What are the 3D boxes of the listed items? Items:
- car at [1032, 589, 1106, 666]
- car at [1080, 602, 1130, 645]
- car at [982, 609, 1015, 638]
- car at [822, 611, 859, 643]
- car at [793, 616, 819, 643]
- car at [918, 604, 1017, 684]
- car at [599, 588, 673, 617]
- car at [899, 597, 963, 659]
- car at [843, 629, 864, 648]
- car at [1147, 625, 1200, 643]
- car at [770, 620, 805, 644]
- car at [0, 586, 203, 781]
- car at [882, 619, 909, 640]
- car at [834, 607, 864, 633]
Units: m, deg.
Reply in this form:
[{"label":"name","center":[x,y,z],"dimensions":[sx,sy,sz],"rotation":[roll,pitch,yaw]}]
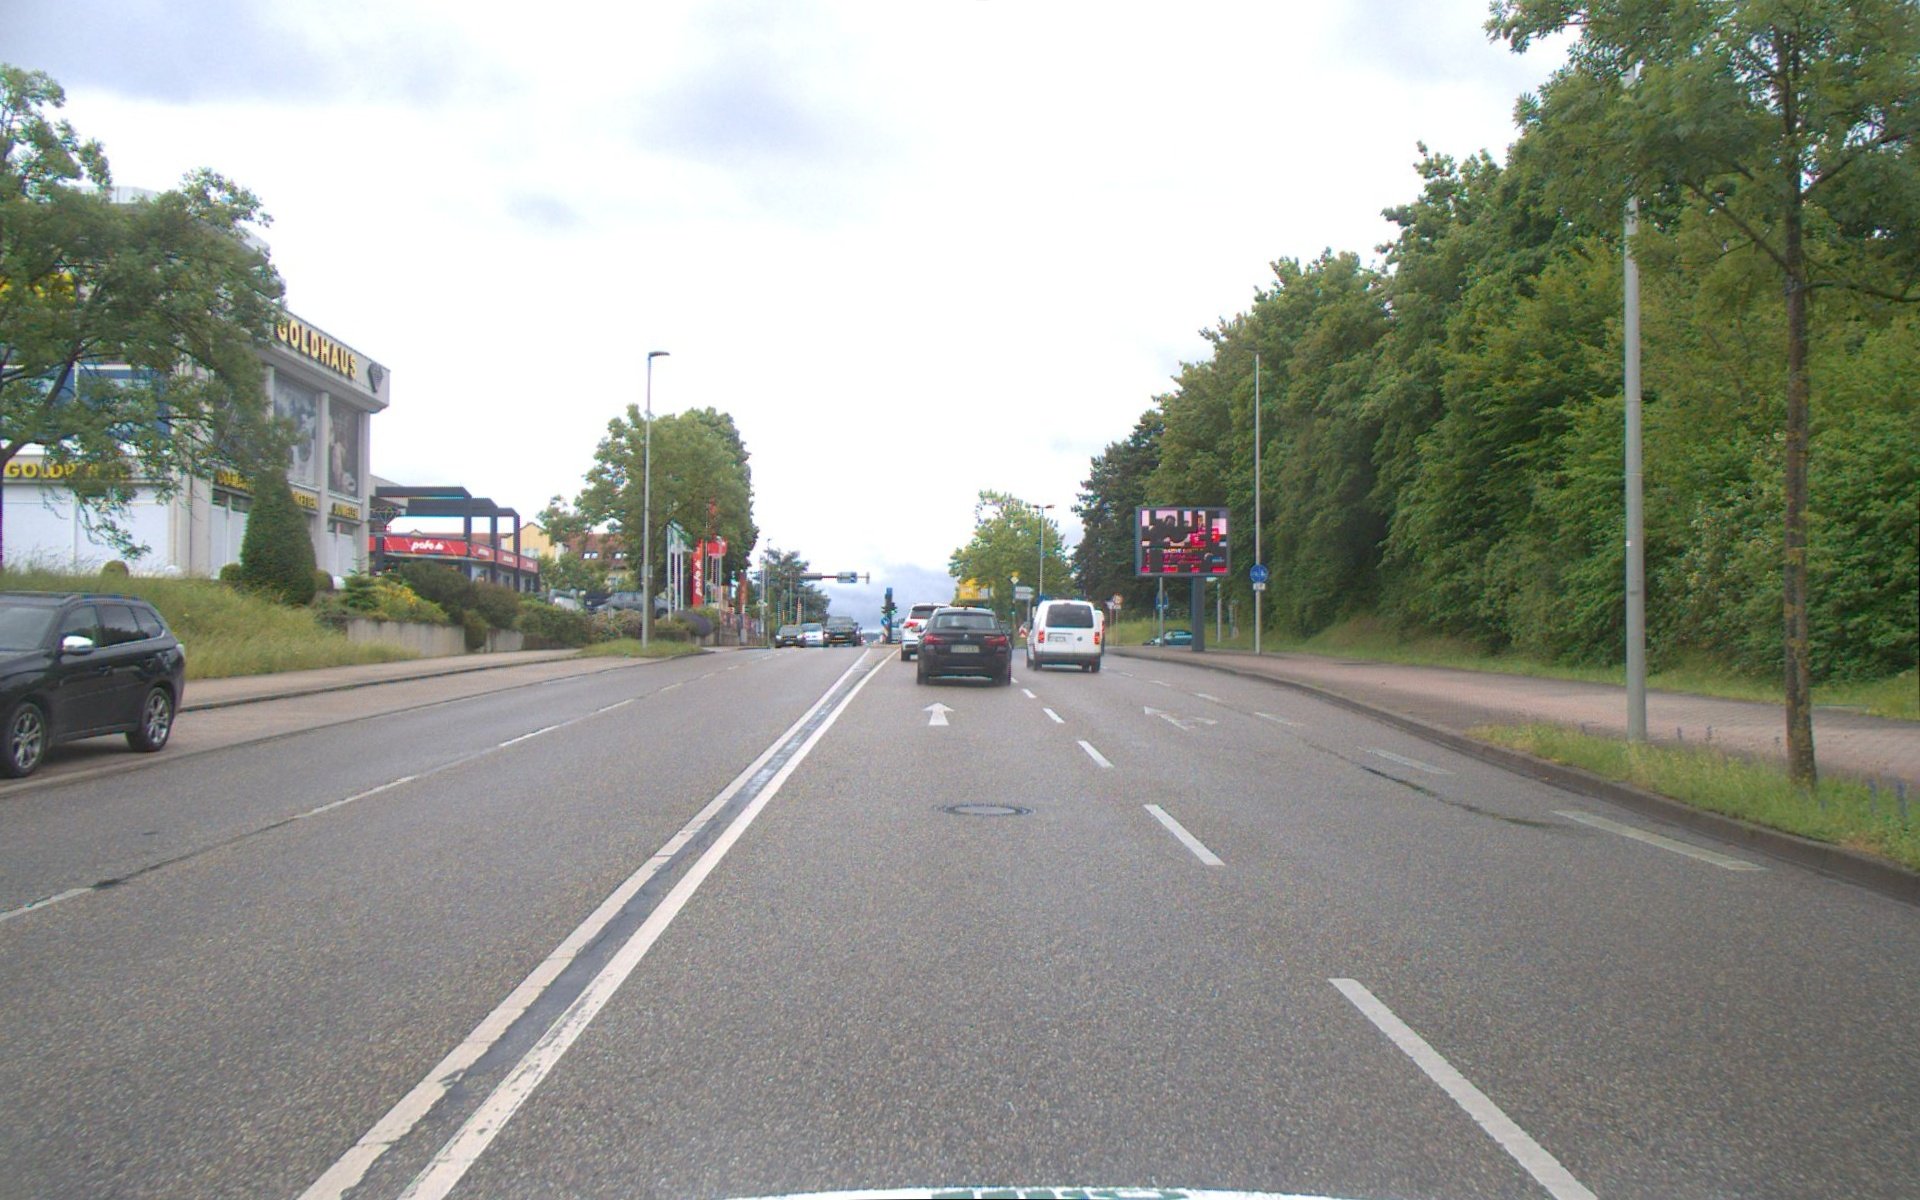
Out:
[{"label":"car","center":[2.836,0.702,43.587],"dimensions":[1.705,1.902,3.946],"rotation":[1,0,1]},{"label":"car","center":[5.976,0.945,68.596],"dimensions":[1.777,1.738,3.946],"rotation":[0,0,1]},{"label":"car","center":[1.956,1.198,84.887],"dimensions":[1.567,1.396,3.680],"rotation":[-1,0,0]},{"label":"car","center":[-6.328,1.402,87.899],"dimensions":[1.759,1.611,4.196],"rotation":[-1,0,-2]},{"label":"car","center":[-11.873,2.234,127.622],"dimensions":[1.760,2.017,4.894],"rotation":[-1,-1,-4]},{"label":"car","center":[0.186,0.823,32.680],"dimensions":[1.816,1.444,3.957],"rotation":[1,0,1]},{"label":"car","center":[-17.165,0.145,87.735],"dimensions":[3.755,1.508,1.738],"rotation":[0,-1,-9]},{"label":"car","center":[-0.817,0.793,48.885],"dimensions":[1.692,1.741,3.383],"rotation":[1,0,2]},{"label":"car","center":[-8.722,3.134,135.163],"dimensions":[1.634,1.422,3.997],"rotation":[-1,-1,-4]},{"label":"car","center":[17.019,2.705,132.037],"dimensions":[3.927,1.316,1.600],"rotation":[-1,0,-20]},{"label":"car","center":[-10.803,2.004,103.694],"dimensions":[1.756,1.426,4.299],"rotation":[-1,0,-1]},{"label":"car","center":[-9.338,0.725,16.324],"dimensions":[1.691,1.697,4.487],"rotation":[2,0,-1]},{"label":"car","center":[-4.892,2.237,125.125],"dimensions":[1.857,1.481,4.093],"rotation":[0,-2,-5]},{"label":"car","center":[-7.235,1.315,107.985],"dimensions":[1.786,1.635,4.282],"rotation":[-1,-1,-2]}]
